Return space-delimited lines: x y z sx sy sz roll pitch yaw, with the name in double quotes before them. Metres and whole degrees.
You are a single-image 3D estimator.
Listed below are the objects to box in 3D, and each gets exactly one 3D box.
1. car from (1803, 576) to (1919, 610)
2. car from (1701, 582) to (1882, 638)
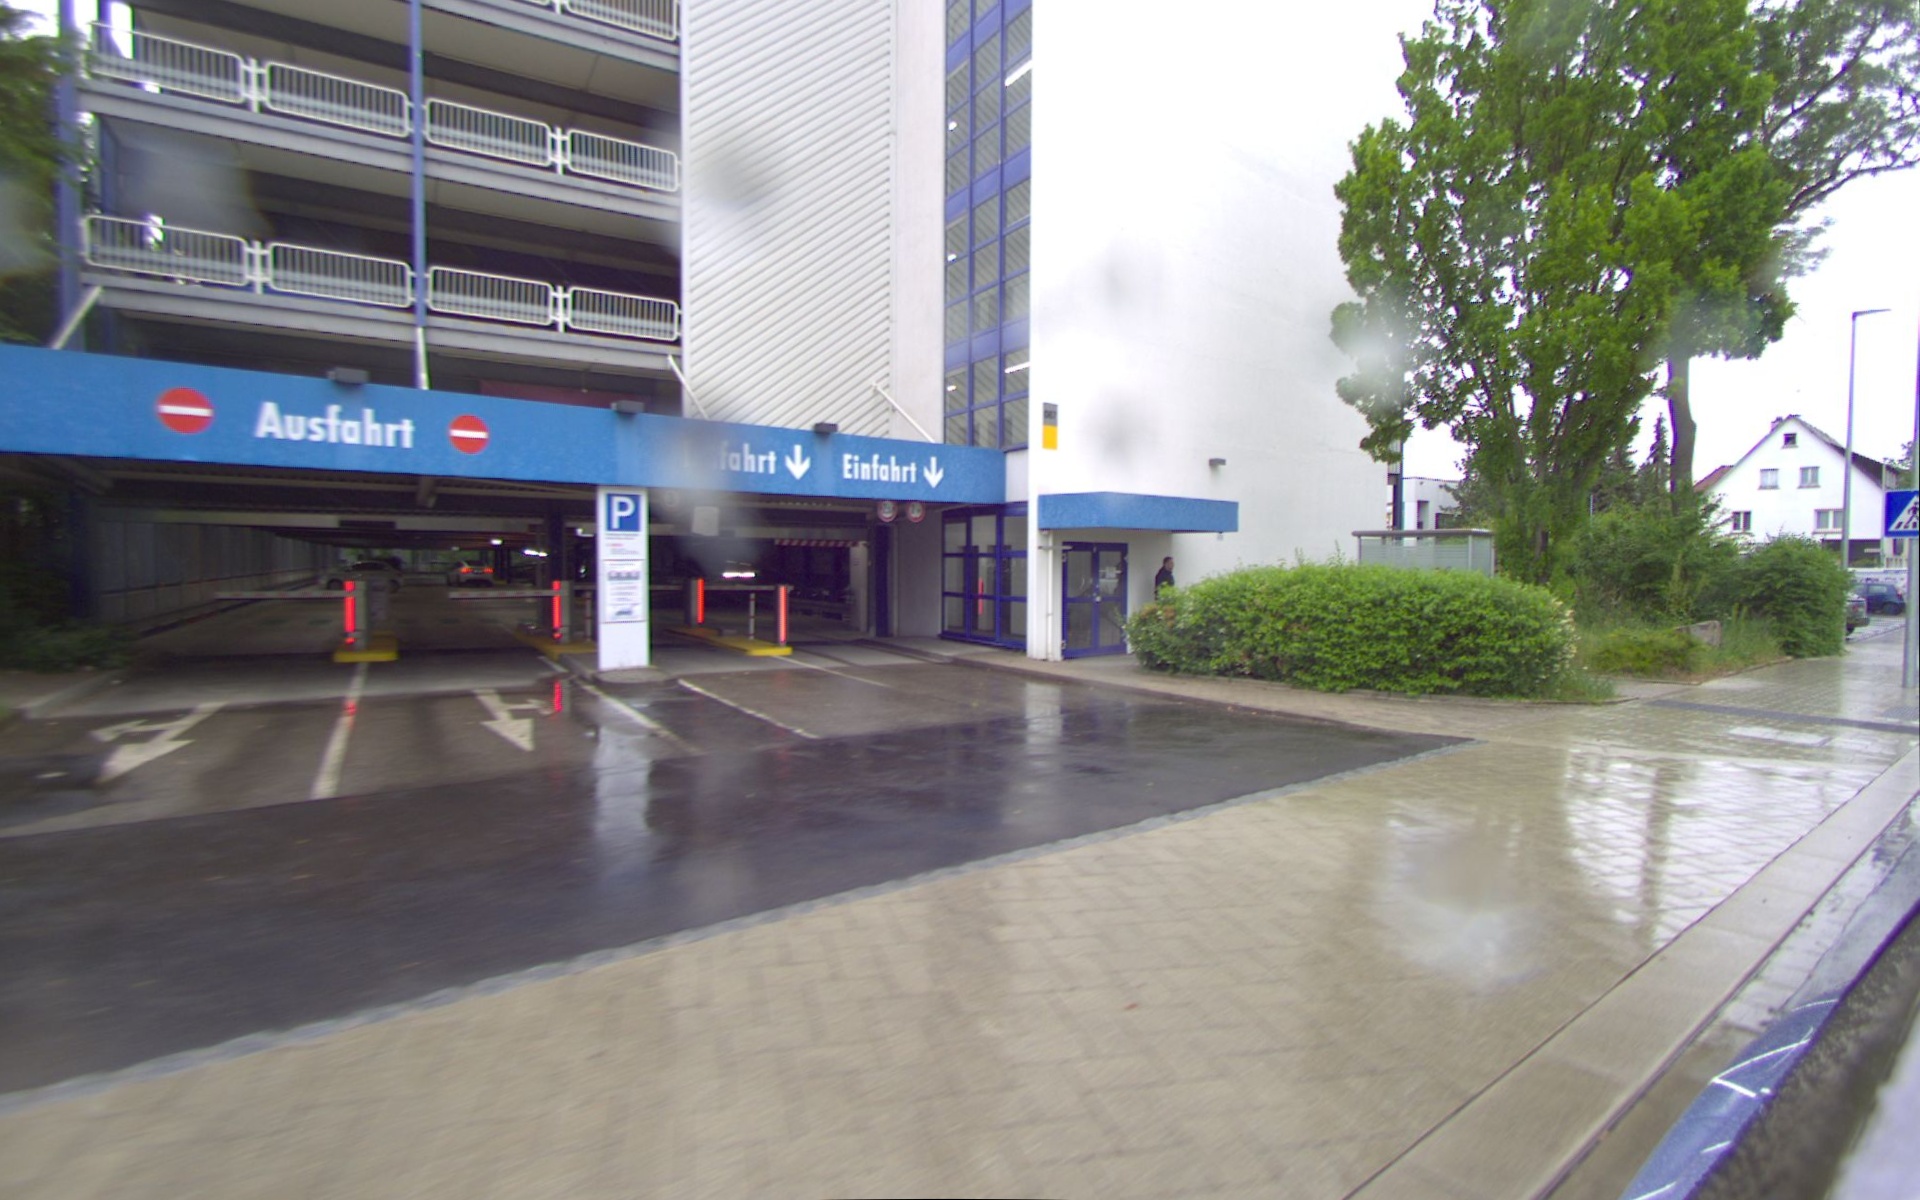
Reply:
"car" 41.796 -0.361 46.925 1.838 1.471 3.990 0 2 -44
"car" 24.679 0.243 30.125 1.838 1.471 3.990 0 2 -44
